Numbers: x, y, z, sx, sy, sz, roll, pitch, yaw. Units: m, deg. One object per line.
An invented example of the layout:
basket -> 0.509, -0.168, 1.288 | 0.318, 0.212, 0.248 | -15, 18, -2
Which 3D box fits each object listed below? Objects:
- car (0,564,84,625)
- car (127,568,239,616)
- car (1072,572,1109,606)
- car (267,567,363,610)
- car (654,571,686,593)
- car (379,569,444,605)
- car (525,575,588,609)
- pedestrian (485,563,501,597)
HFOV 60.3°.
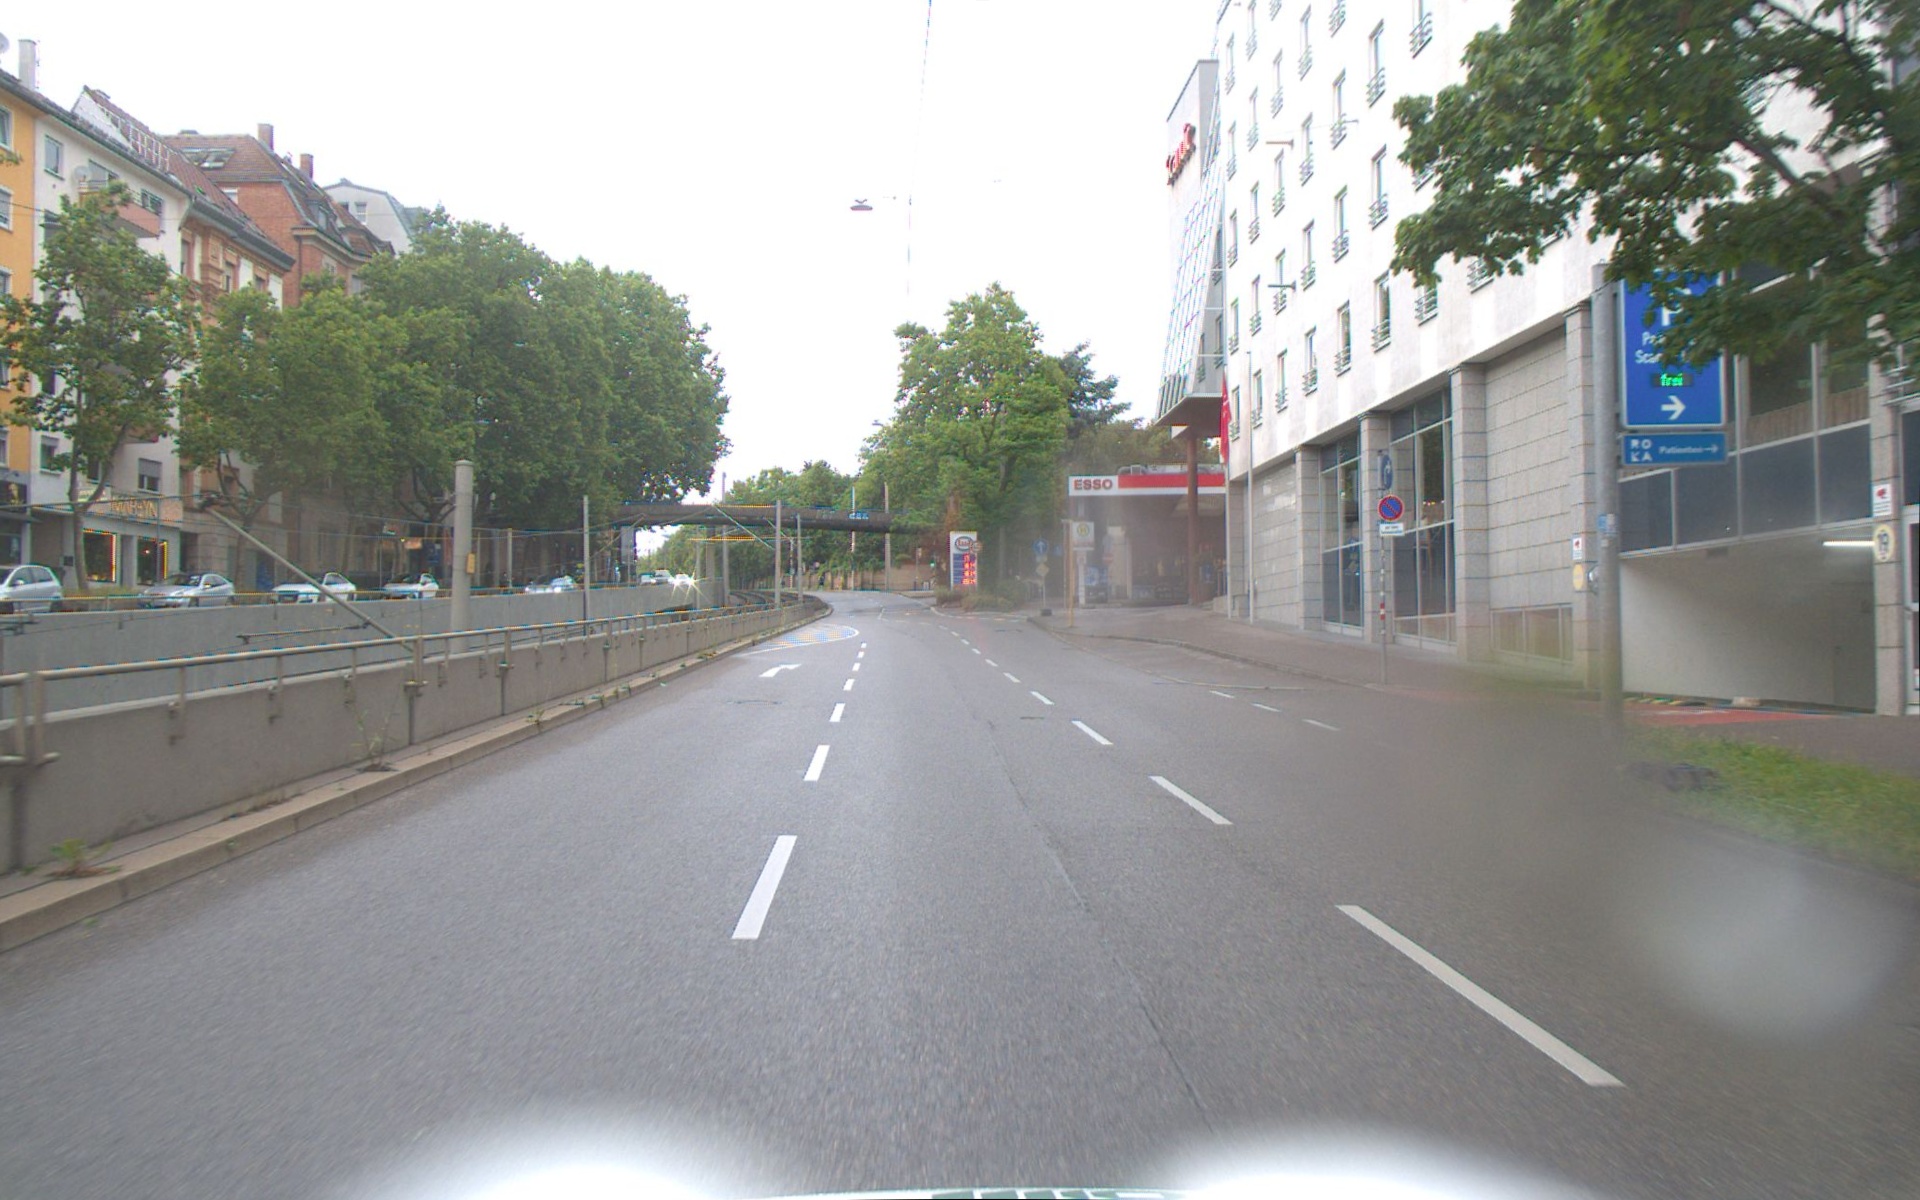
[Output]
car -> -26.176, -0.180, 45.615 | 1.757, 1.598, 4.207 | 1, 1, 0
car -> -26.001, -0.281, 55.482 | 1.757, 1.536, 4.207 | 1, 1, 0
car -> 6.810, -0.562, 85.986 | 1.735, 1.652, 3.869 | -2, 0, 7
car -> -25.945, -0.479, 66.731 | 1.888, 1.629, 5.198 | 1, 1, -1
car -> -25.834, -1.625, 147.380 | 1.916, 1.885, 4.968 | 1, 1, 0
car -> -25.772, -0.613, 77.860 | 1.758, 1.639, 4.111 | 1, 1, -2
car -> -19.337, -0.414, 79.410 | 1.986, 1.536, 4.881 | 1, 1, -2
pedestrian -> -28.269, -1.222, 100.111 | 0.655, 2.049, 0.935 | 1, -1, 1
